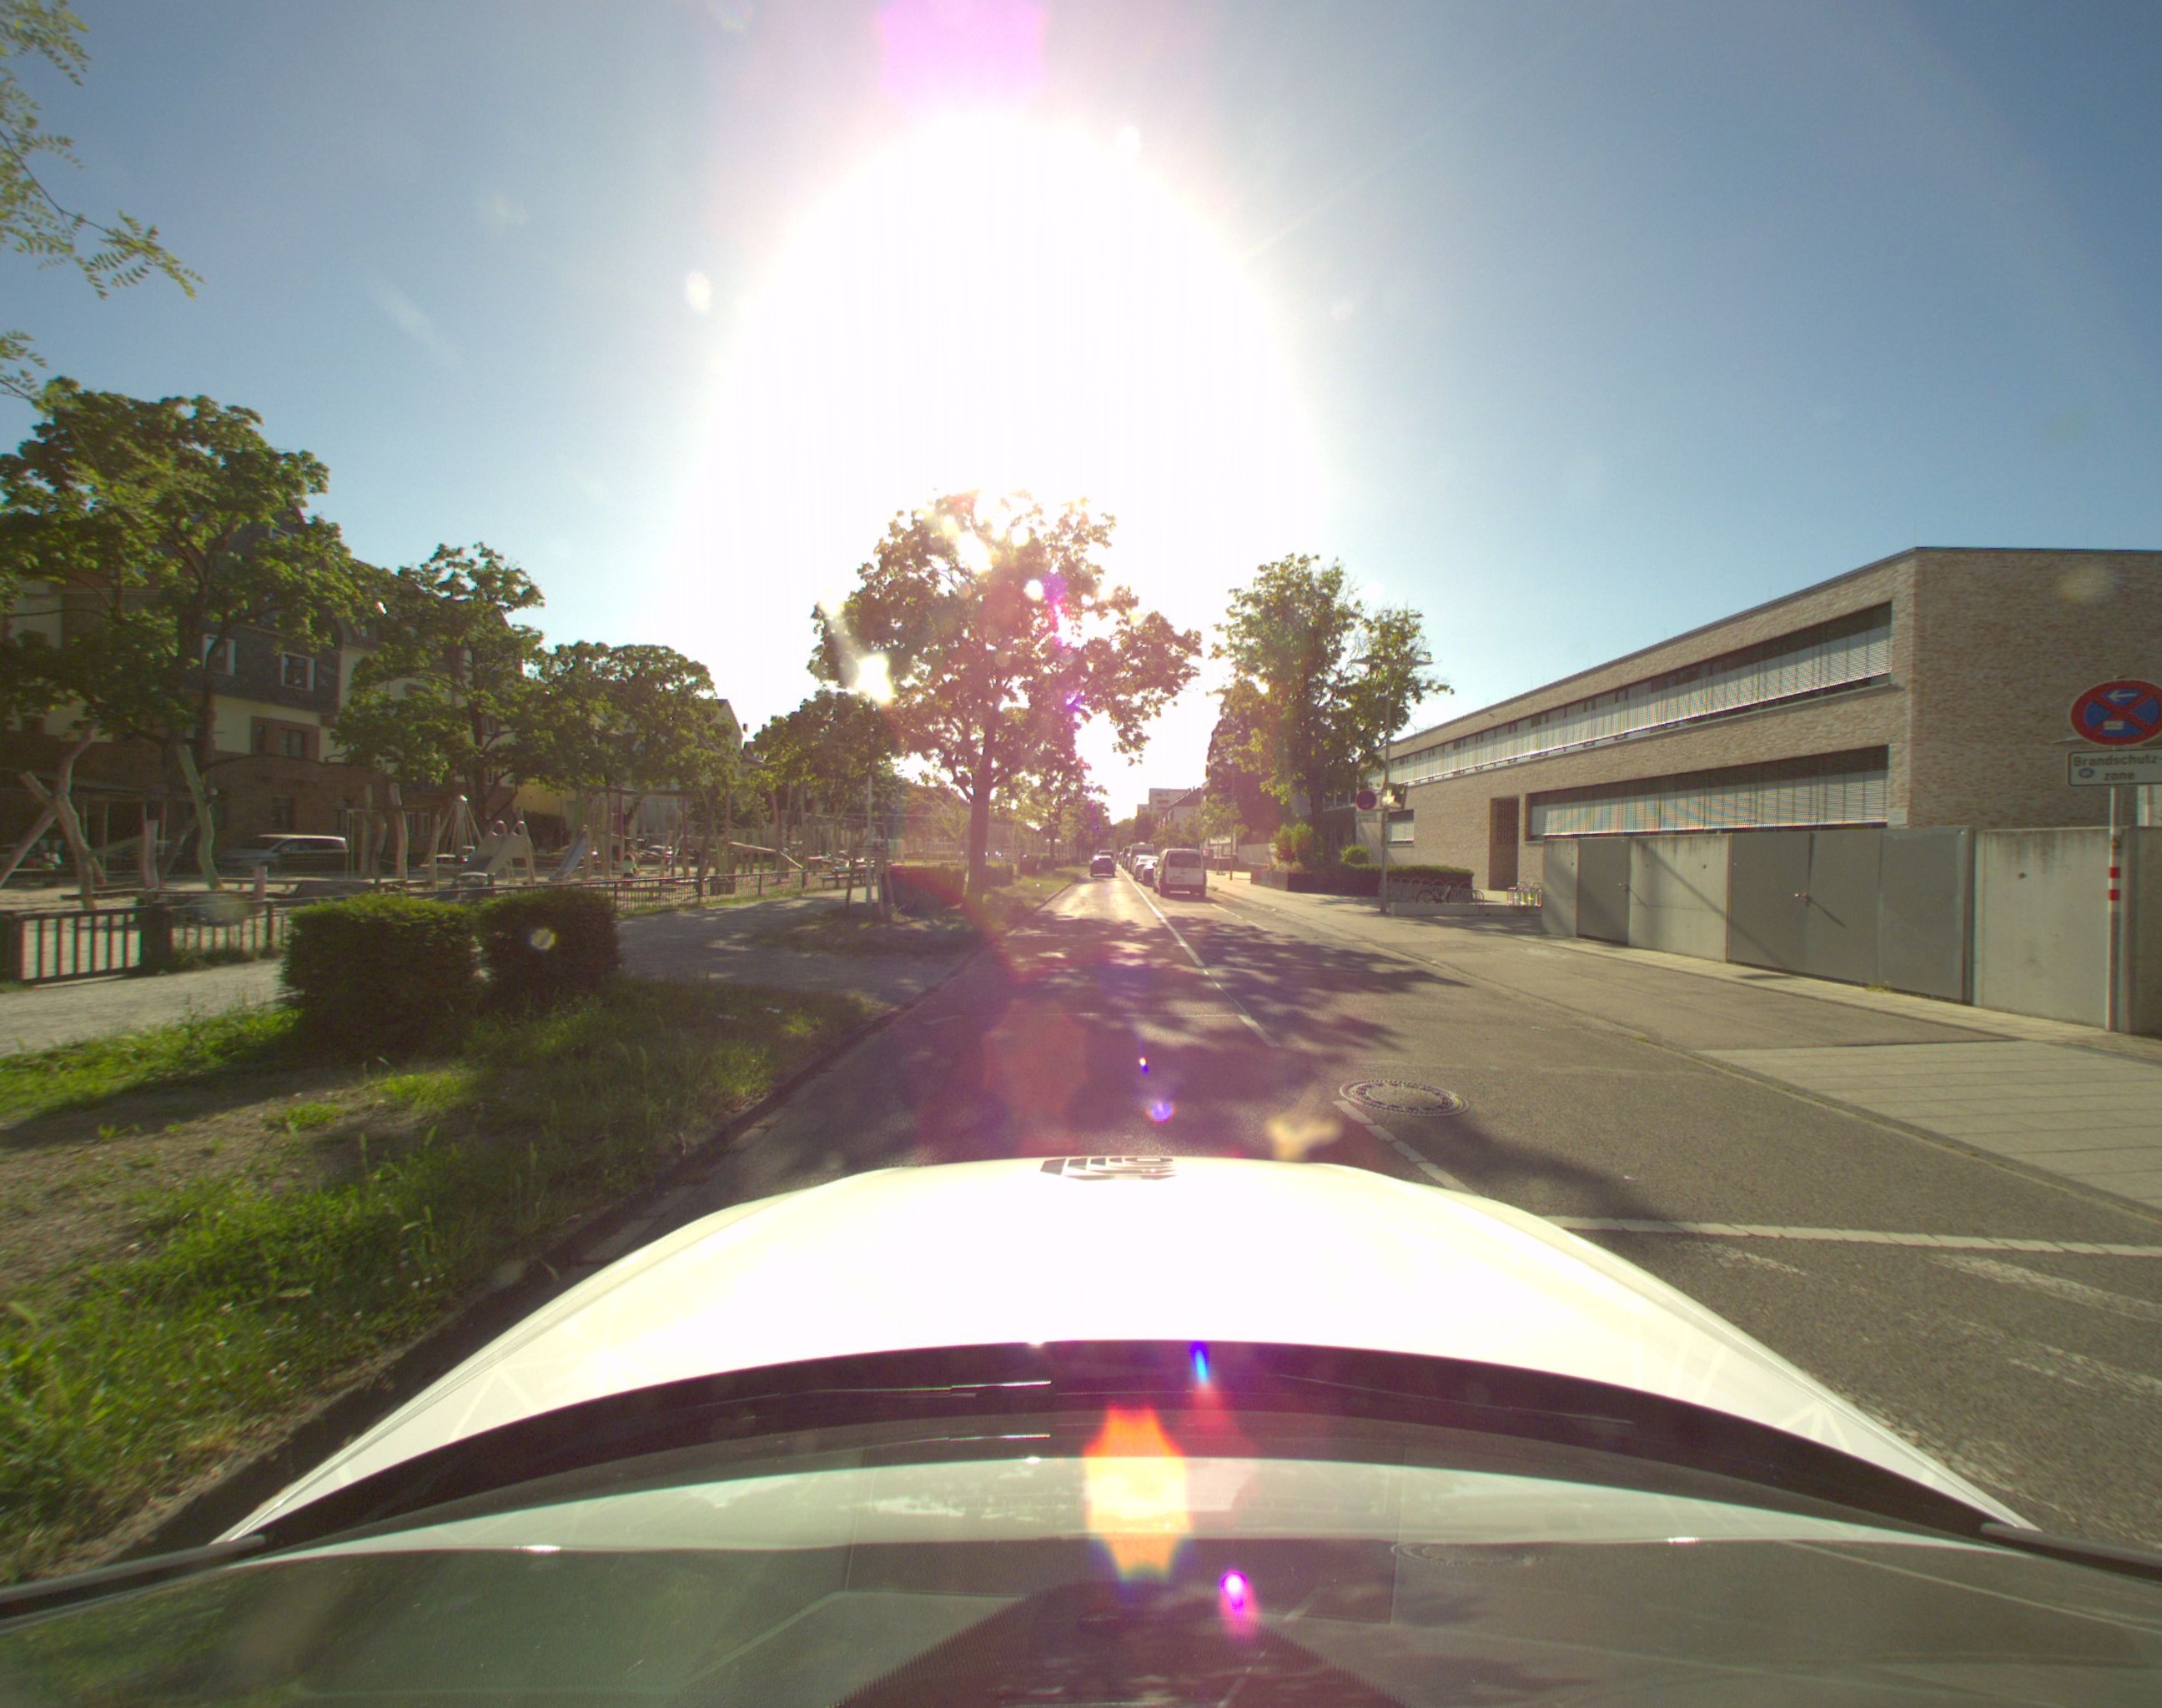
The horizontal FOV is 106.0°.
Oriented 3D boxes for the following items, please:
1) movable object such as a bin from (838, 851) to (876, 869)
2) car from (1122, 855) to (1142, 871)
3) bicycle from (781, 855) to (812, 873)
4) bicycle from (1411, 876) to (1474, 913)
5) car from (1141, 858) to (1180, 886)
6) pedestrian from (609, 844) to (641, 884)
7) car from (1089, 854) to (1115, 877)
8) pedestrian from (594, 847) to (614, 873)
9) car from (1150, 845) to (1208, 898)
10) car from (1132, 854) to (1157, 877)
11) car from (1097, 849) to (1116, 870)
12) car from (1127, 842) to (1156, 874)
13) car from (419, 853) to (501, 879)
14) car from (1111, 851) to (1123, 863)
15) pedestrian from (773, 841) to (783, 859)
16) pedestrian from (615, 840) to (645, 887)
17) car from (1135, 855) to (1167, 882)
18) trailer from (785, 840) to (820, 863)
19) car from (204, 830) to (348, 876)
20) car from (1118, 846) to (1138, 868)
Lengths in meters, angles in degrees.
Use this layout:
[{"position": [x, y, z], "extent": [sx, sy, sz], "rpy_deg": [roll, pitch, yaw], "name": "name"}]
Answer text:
[{"position": [-15.140, 0.395, 55.115], "extent": [2.324, 1.242, 1.055], "rpy_deg": [0, 0, -3], "name": "movable object such as a bin"}, {"position": [5.406, 0.951, 86.664], "extent": [1.839, 1.640, 4.505], "rpy_deg": [1, 0, 1], "name": "car"}, {"position": [-18.660, 0.660, 53.406], "extent": [1.788, 1.107, 0.500], "rpy_deg": [1, 0, 0], "name": "bicycle"}, {"position": [10.951, 1.214, 24.721], "extent": [1.663, 1.030, 0.500], "rpy_deg": [3, 0, -1], "name": "bicycle"}, {"position": [4.102, 0.926, 42.521], "extent": [1.695, 1.325, 4.131], "rpy_deg": [2, 0, 2], "name": "car"}, {"position": [-15.516, 0.337, 27.713], "extent": [0.643, 1.329, 0.653], "rpy_deg": [1, 0, 20], "name": "pedestrian"}, {"position": [1.557, 0.792, 58.299], "extent": [1.787, 1.510, 4.002], "rpy_deg": [1, 0, 2], "name": "car"}, {"position": [-25.226, 0.312, 43.057], "extent": [0.646, 1.318, 0.650], "rpy_deg": [1, 0, -1], "name": "pedestrian"}, {"position": [3.828, 0.639, 32.462], "extent": [1.802, 1.908, 4.461], "rpy_deg": [2, 0, 0], "name": "car"}, {"position": [4.771, 0.840, 61.569], "extent": [1.614, 1.588, 3.591], "rpy_deg": [1, 0, 0], "name": "car"}, {"position": [2.603, 0.540, 82.894], "extent": [1.787, 2.122, 4.002], "rpy_deg": [1, 0, 2], "name": "car"}, {"position": [5.091, 0.328, 69.038], "extent": [2.232, 2.574, 5.435], "rpy_deg": [2, 0, 2], "name": "car"}, {"position": [-37.855, 0.707, 49.741], "extent": [1.787, 1.510, 4.002], "rpy_deg": [1, 0, 2], "name": "car"}, {"position": [5.868, 0.450, 132.532], "extent": [1.786, 1.855, 4.418], "rpy_deg": [1, 0, 4], "name": "car"}, {"position": [-28.015, -0.377, 75.202], "extent": [0.645, 1.661, 0.650], "rpy_deg": [0, 0, 2], "name": "pedestrian"}, {"position": [-16.120, 0.330, 29.103], "extent": [0.643, 1.661, 0.653], "rpy_deg": [1, 0, 20], "name": "pedestrian"}, {"position": [4.137, 0.830, 48.711], "extent": [1.695, 1.478, 4.175], "rpy_deg": [2, 0, 2], "name": "car"}, {"position": [-36.290, -0.360, 106.398], "extent": [2.335, 2.870, 5.804], "rpy_deg": [1, 0, 1], "name": "trailer"}, {"position": [-37.797, -0.038, 38.449], "extent": [1.787, 1.982, 4.838], "rpy_deg": [1, 0, 2], "name": "car"}, {"position": [5.726, 0.388, 98.983], "extent": [2.108, 2.515, 6.532], "rpy_deg": [1, 0, 1], "name": "car"}]
